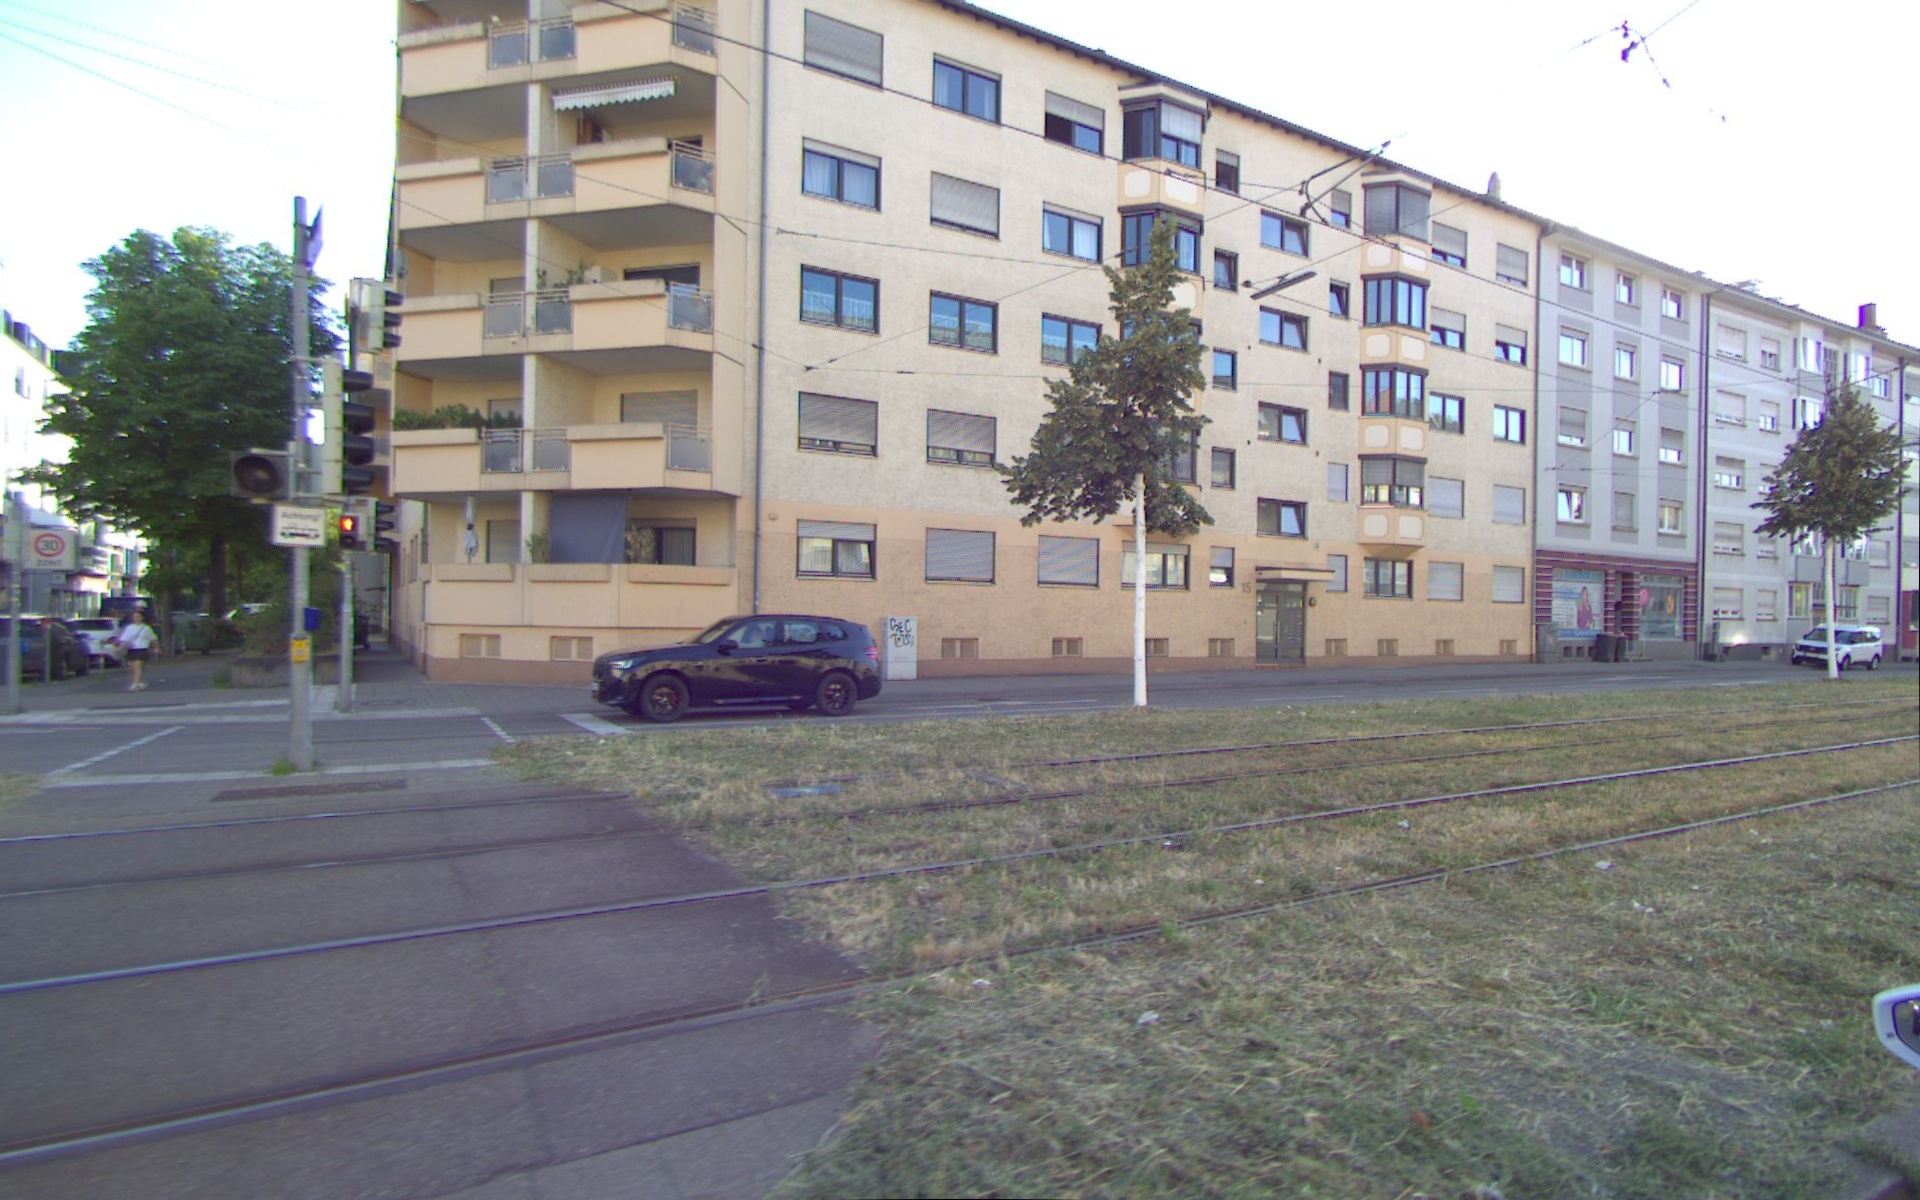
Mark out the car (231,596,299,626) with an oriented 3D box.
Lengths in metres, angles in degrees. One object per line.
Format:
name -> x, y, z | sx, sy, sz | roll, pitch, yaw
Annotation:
car -> -45.666, 0.727, 66.097 | 3.443, 1.819, 1.690 | 2, 0, -28

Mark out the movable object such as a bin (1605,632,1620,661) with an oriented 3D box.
movable object such as a bin -> 24.666, 1.762, 37.963 | 0.436, 1.050, 0.297 | 2, 0, -32

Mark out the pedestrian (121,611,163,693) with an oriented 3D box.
pedestrian -> -16.050, 1.002, 19.716 | 0.509, 1.573, 0.547 | 1, 1, -25

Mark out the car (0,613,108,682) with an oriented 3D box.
car -> -21.232, 1.044, 23.365 | 1.983, 1.461, 3.956 | 0, -1, -38

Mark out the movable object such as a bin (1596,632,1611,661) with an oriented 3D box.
movable object such as a bin -> 24.116, 1.753, 37.654 | 0.436, 1.050, 0.297 | 2, 0, -32

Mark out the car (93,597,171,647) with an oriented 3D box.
car -> -35.877, 0.916, 43.627 | 1.978, 2.040, 3.966 | 2, -1, -31

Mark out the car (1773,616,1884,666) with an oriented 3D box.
car -> 36.671, 1.723, 42.404 | 4.484, 1.950, 1.986 | 2, 0, -27

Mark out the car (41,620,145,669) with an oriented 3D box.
car -> -25.422, 1.274, 29.554 | 1.753, 1.280, 3.281 | 2, -1, -31

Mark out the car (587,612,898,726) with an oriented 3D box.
car -> -3.539, 1.074, 16.618 | 4.692, 1.655, 1.888 | 2, -2, -31

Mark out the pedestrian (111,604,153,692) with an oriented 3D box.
pedestrian -> -16.688, 0.955, 20.258 | 0.456, 1.727, 0.589 | 2, 0, -25
